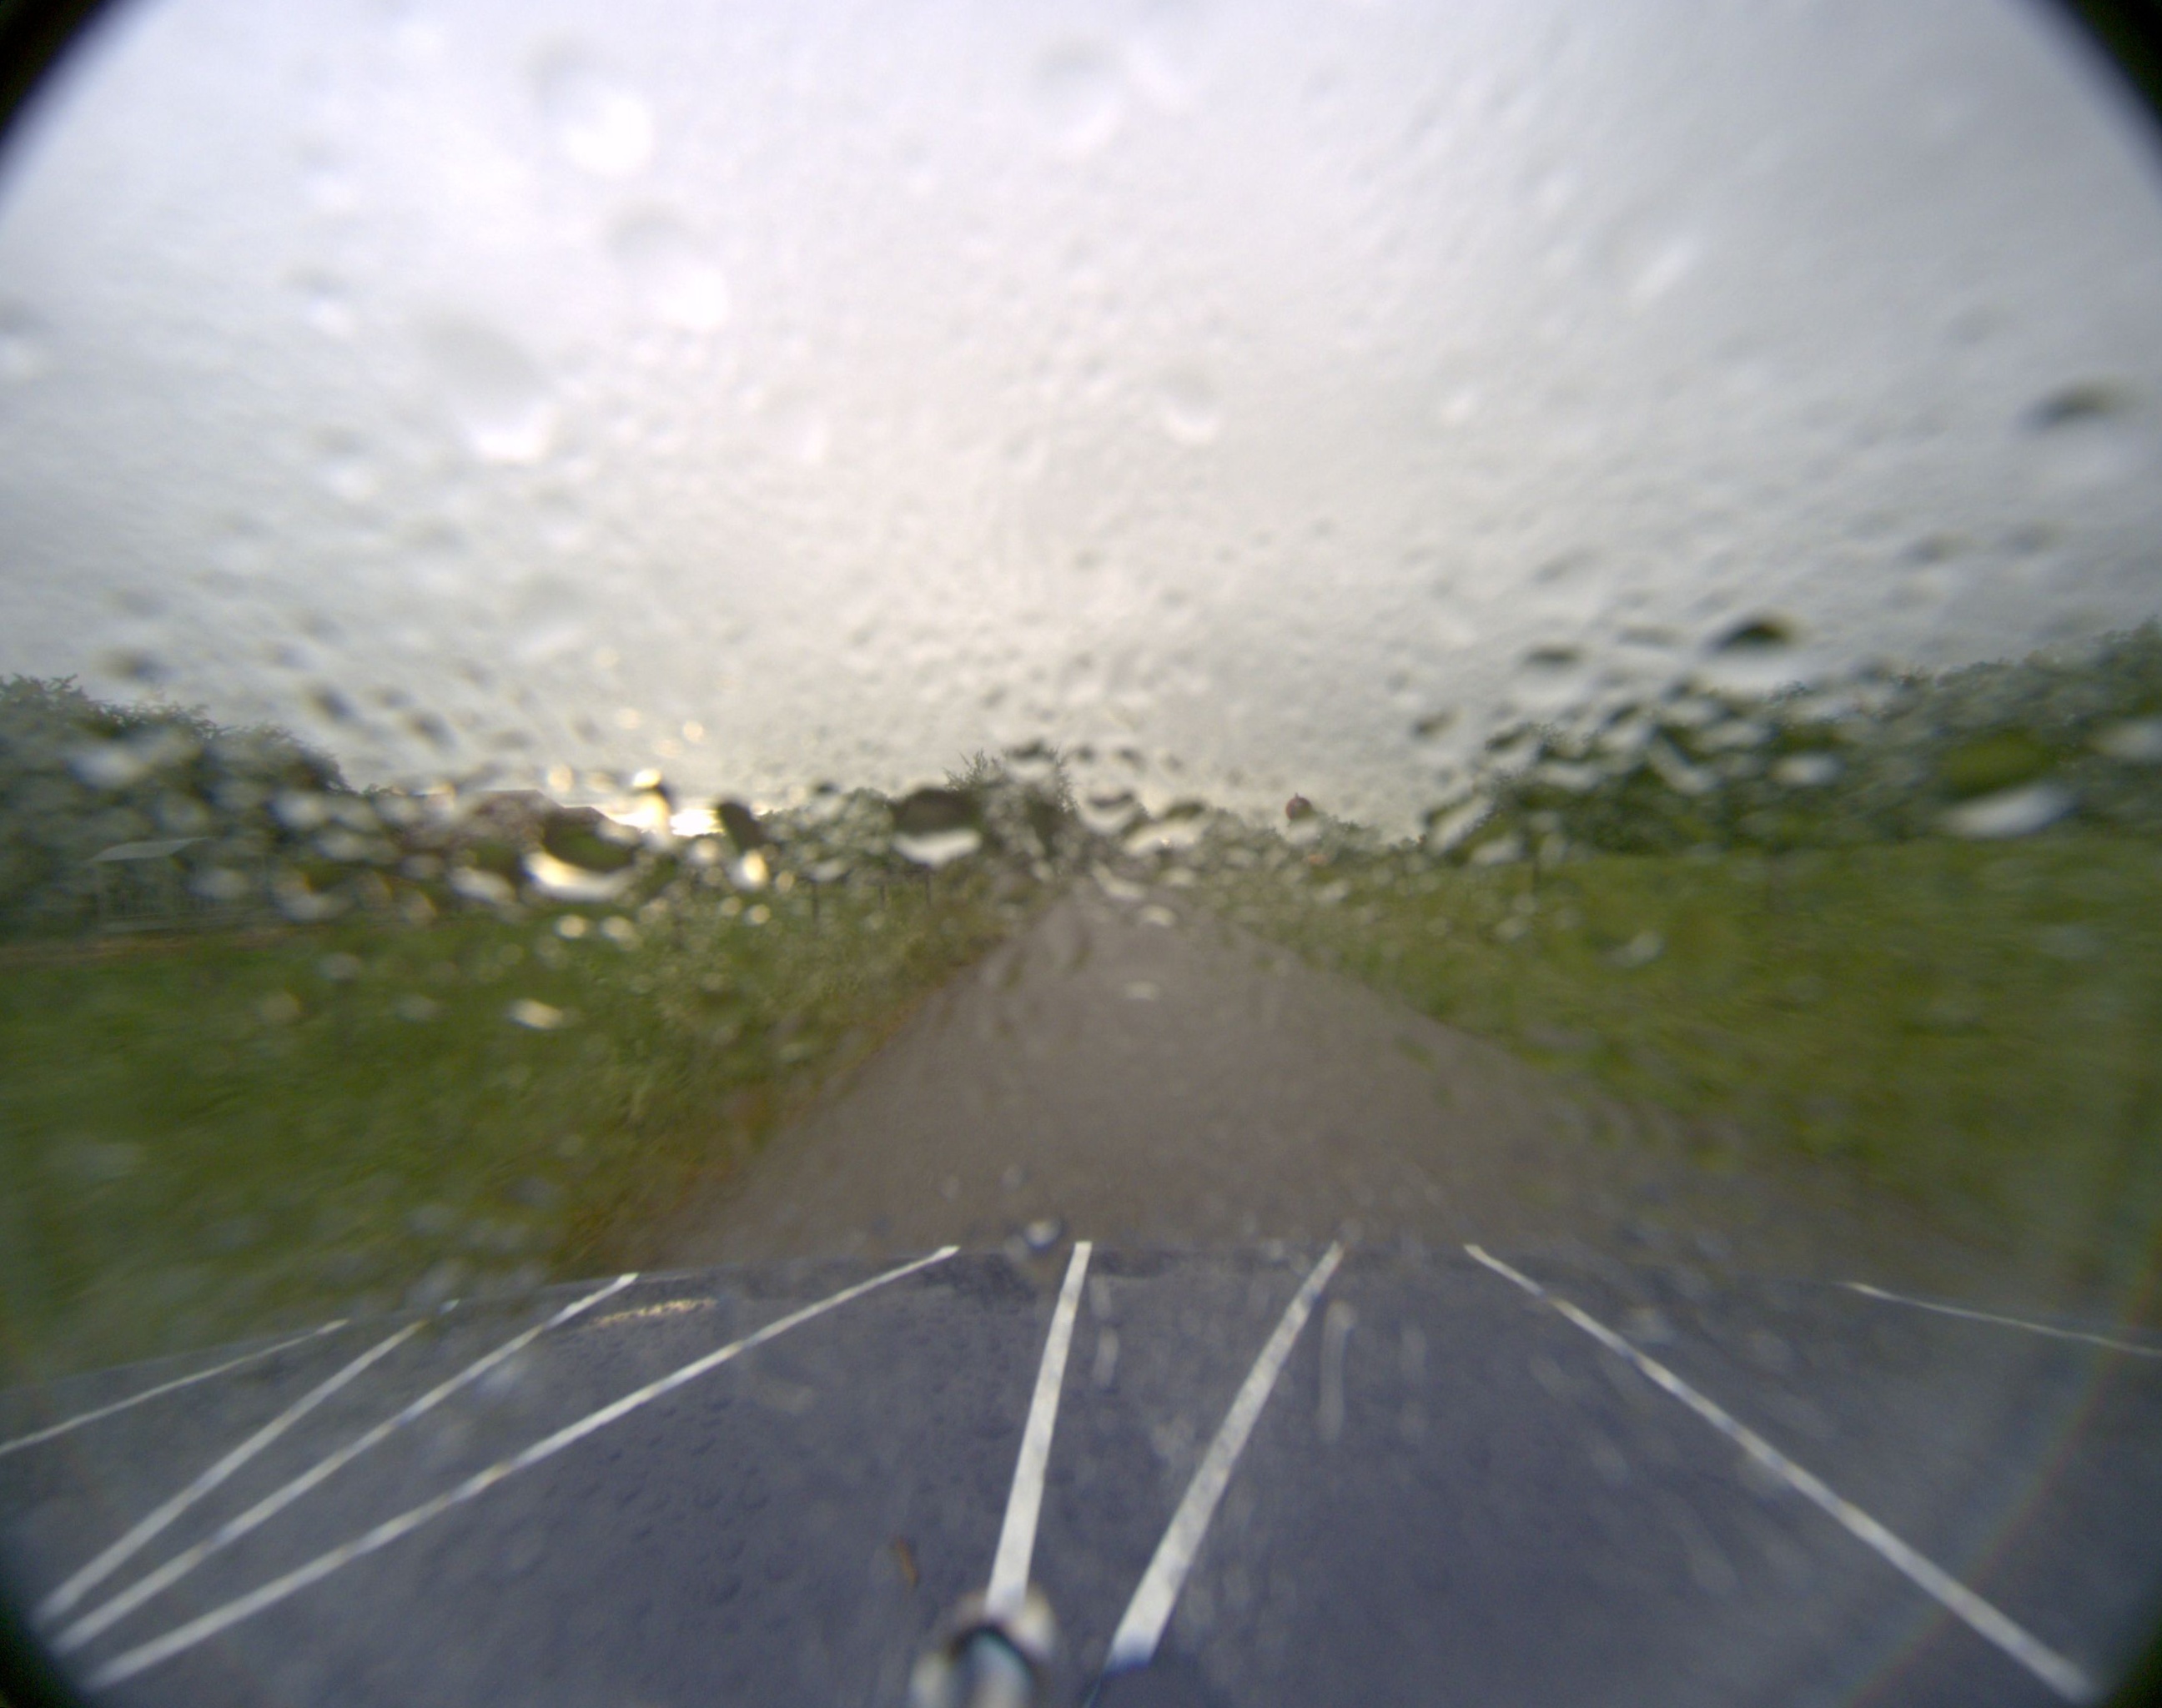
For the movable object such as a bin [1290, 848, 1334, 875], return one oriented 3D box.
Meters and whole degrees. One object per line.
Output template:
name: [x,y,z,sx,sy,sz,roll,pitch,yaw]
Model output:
movable object such as a bin: [14.706,0.447,48.547,1.683,1.561,3.538,-3,0,0]
